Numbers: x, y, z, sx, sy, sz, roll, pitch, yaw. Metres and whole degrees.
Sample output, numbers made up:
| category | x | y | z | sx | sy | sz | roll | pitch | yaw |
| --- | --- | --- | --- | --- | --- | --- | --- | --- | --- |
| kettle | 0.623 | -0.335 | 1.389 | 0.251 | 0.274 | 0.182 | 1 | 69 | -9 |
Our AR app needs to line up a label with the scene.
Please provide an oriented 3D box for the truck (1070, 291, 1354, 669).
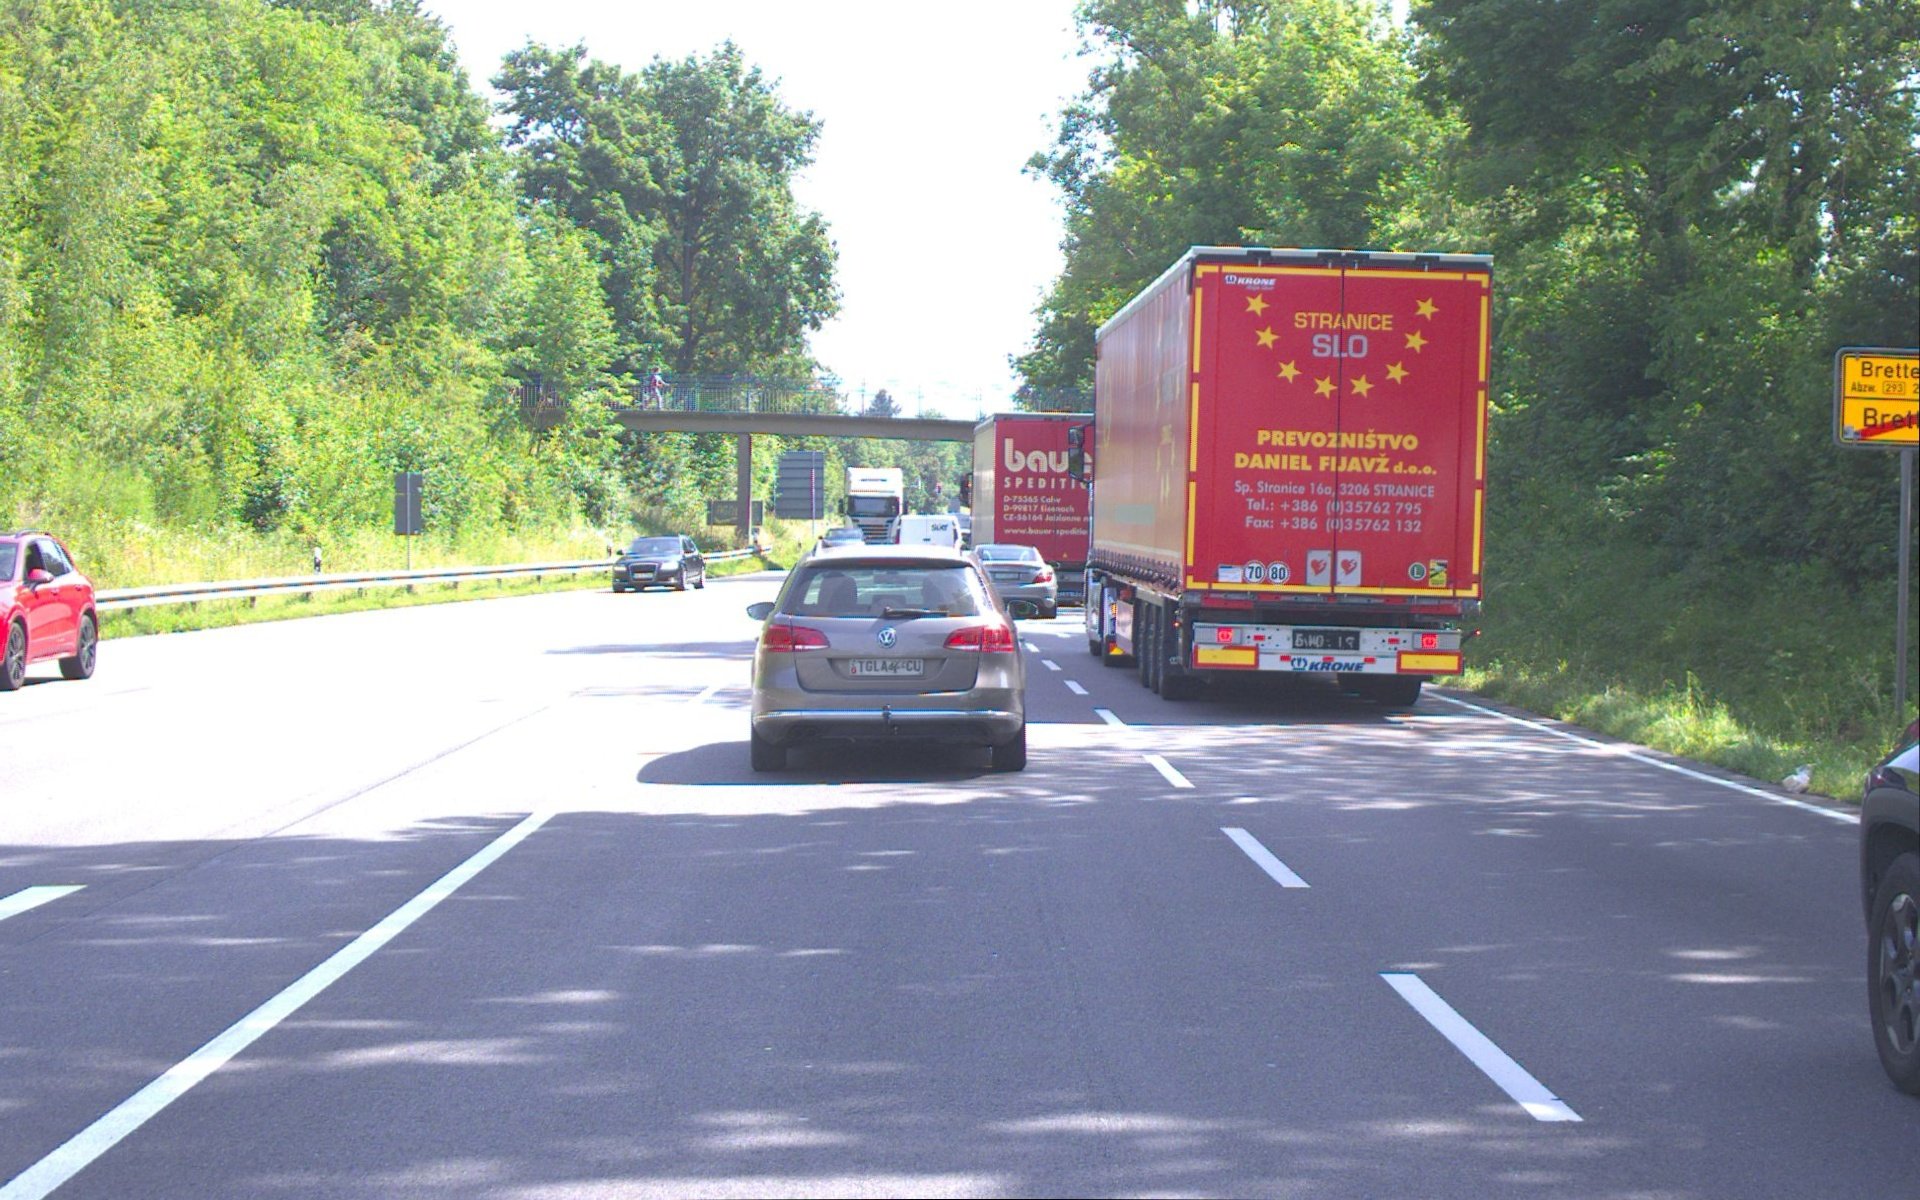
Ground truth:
| category | x | y | z | sx | sy | sz | roll | pitch | yaw |
| --- | --- | --- | --- | --- | --- | --- | --- | --- | --- |
| truck | 2.983 | -1.405 | 42.313 | 2.870 | 4.266 | 5.839 | 1 | 1 | -1 |

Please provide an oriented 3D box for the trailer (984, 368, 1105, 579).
| category | x | y | z | sx | sy | sz | roll | pitch | yaw |
| --- | --- | --- | --- | --- | --- | --- | --- | --- | --- |
| trailer | 1.846 | -2.623 | 76.033 | 2.395 | 4.229 | 13.077 | -1 | 1 | 1 |

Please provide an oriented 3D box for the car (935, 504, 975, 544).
| category | x | y | z | sx | sy | sz | roll | pitch | yaw |
| --- | --- | --- | --- | --- | --- | --- | --- | --- | --- |
| car | -0.266 | -3.965 | 179.769 | 1.993 | 2.007 | 4.000 | -1 | 1 | -1 |

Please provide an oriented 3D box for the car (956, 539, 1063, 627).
| category | x | y | z | sx | sy | sz | roll | pitch | yaw |
| --- | --- | --- | --- | --- | --- | --- | --- | --- | --- |
| car | 0.867 | -0.318 | 62.050 | 1.770 | 1.508 | 4.000 | -1 | 1 | -1 |

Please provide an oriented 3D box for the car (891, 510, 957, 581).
| category | x | y | z | sx | sy | sz | roll | pitch | yaw |
| --- | --- | --- | --- | --- | --- | --- | --- | --- | --- |
| car | -1.024 | -1.514 | 96.040 | 1.770 | 1.930 | 3.978 | -1 | 1 | -1 |

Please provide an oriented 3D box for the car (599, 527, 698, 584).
| category | x | y | z | sx | sy | sz | roll | pitch | yaw |
| --- | --- | --- | --- | --- | --- | --- | --- | --- | --- |
| car | -7.969 | -1.136 | 88.178 | 1.963 | 1.410 | 4.000 | 0 | 1 | 3 |

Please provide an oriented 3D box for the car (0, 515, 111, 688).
| category | x | y | z | sx | sy | sz | roll | pitch | yaw |
| --- | --- | --- | --- | --- | --- | --- | --- | --- | --- |
| car | -10.988 | 0.003 | 38.148 | 1.973 | 1.790 | 4.809 | -1 | 1 | -1 |

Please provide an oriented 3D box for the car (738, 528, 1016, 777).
| category | x | y | z | sx | sy | sz | roll | pitch | yaw |
| --- | --- | --- | --- | --- | --- | --- | --- | --- | --- |
| car | -0.546 | 0.302 | 23.110 | 1.691 | 1.508 | 4.000 | -1 | 1 | -1 |

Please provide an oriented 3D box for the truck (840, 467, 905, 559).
| category | x | y | z | sx | sy | sz | roll | pitch | yaw |
| --- | --- | --- | --- | --- | --- | --- | --- | --- | --- |
| truck | -3.891 | -3.790 | 152.561 | 2.773 | 3.917 | 9.467 | 0 | 1 | -2 |

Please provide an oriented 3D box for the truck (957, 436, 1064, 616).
| category | x | y | z | sx | sy | sz | roll | pitch | yaw |
| --- | --- | --- | --- | --- | --- | --- | --- | --- | --- |
| truck | 1.221 | -1.742 | 81.983 | 2.406 | 4.113 | 5.521 | -1 | 1 | 1 |

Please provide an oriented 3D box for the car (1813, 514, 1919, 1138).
| category | x | y | z | sx | sy | sz | roll | pitch | yaw |
| --- | --- | --- | --- | --- | --- | --- | --- | --- | --- |
| car | 3.449 | 0.597 | 8.054 | 1.770 | 1.649 | 4.000 | -1 | 1 | -2 |

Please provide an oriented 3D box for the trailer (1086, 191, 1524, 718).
| category | x | y | z | sx | sy | sz | roll | pitch | yaw |
| --- | --- | --- | --- | --- | --- | --- | --- | --- | --- |
| trailer | 3.136 | -1.292 | 35.409 | 2.839 | 4.350 | 13.168 | 1 | 1 | -1 |
